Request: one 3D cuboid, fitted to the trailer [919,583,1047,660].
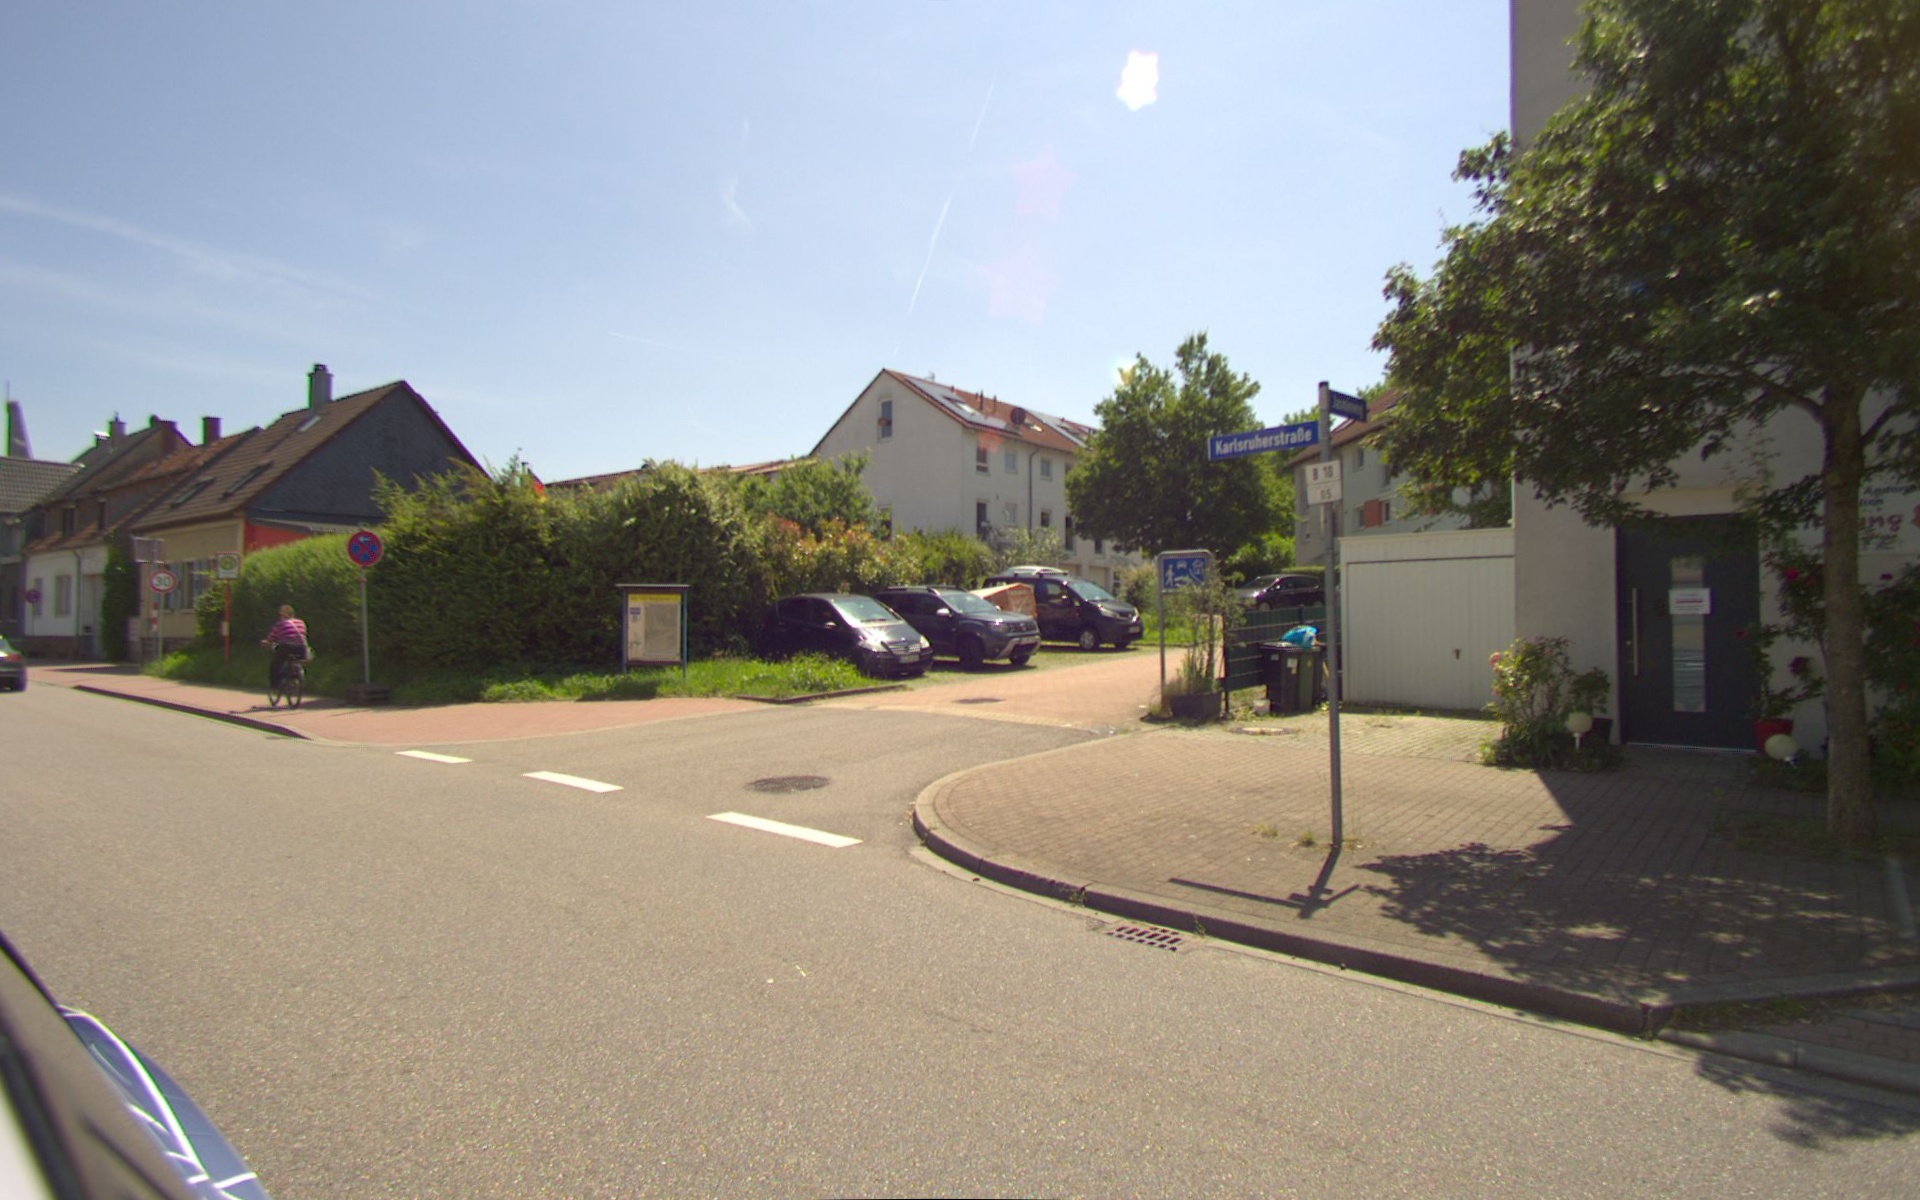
[{"bbox_3d":[0.531,0.500,24.206,2.688,1.676,1.413,-1,2,37],"label":"trailer"}]

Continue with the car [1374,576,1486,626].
[{"bbox_3d":[14.870,0.024,31.932,3.937,1.439,1.695,-2,0,-41],"label":"car"}]

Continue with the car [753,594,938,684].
[{"bbox_3d":[-2.298,0.709,19.770,3.653,1.552,1.605,-1,1,44],"label":"car"}]

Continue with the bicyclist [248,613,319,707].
[{"bbox_3d":[-11.323,0.985,16.937,0.907,1.505,0.653,-1,1,34],"label":"bicyclist"}]

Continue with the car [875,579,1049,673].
[{"bbox_3d":[-0.014,0.526,21.405,3.511,1.793,1.605,-1,1,44],"label":"car"}]

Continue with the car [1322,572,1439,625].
[{"bbox_3d":[14.149,-0.080,34.002,3.933,1.635,1.754,-2,1,-33],"label":"car"}]

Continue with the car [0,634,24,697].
[{"bbox_3d":[-23.044,1.463,23.324,3.867,1.381,1.688,-2,-4,41],"label":"car"}]

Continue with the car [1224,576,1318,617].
[{"bbox_3d":[11.675,-0.122,37.935,3.580,1.463,1.595,-1,-1,-38],"label":"car"}]

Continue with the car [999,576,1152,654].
[{"bbox_3d":[2.846,0.359,25.369,3.552,1.794,1.605,-1,1,44],"label":"car"}]

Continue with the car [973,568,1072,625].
[{"bbox_3d":[2.088,-0.128,32.943,1.419,1.747,3.594,-1,1,38],"label":"car"}]

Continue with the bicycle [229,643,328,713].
[{"bbox_3d":[-11.512,1.286,17.078,2.021,1.064,0.665,-1,1,35],"label":"bicycle"}]
